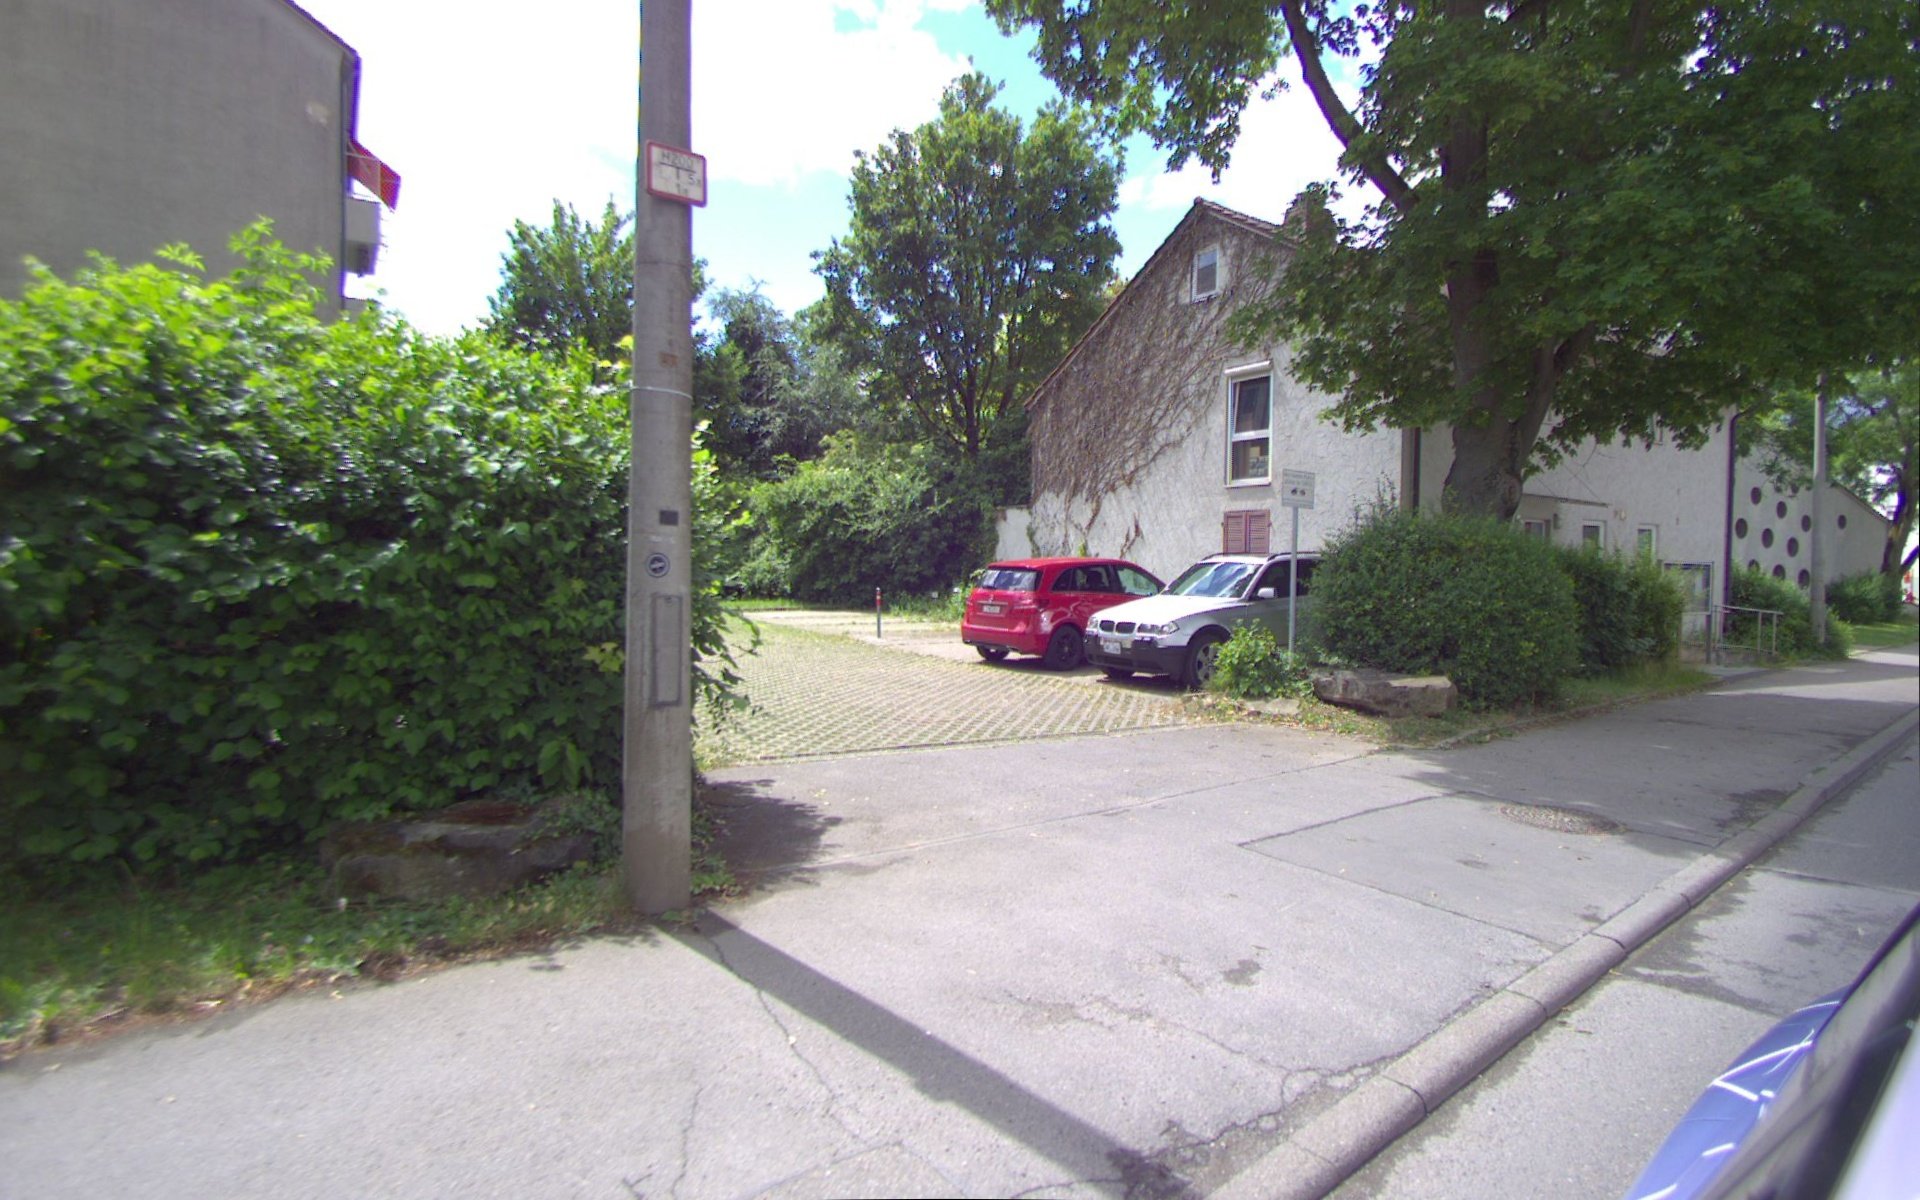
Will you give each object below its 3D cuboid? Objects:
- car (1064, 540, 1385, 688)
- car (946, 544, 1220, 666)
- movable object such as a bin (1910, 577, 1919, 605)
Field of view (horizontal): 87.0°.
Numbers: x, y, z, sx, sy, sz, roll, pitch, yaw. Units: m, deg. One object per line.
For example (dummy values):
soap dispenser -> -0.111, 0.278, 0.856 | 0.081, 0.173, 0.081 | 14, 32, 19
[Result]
car -> 3.481, 0.112, 13.172 | 3.922, 1.670, 1.819 | 0, 3, -32
car -> 1.917, 0.019, 15.256 | 3.926, 1.602, 1.817 | 0, 3, -37
movable object such as a bin -> 71.450, -0.643, 73.505 | 1.960, 2.038, 2.971 | 1, 1, -4
